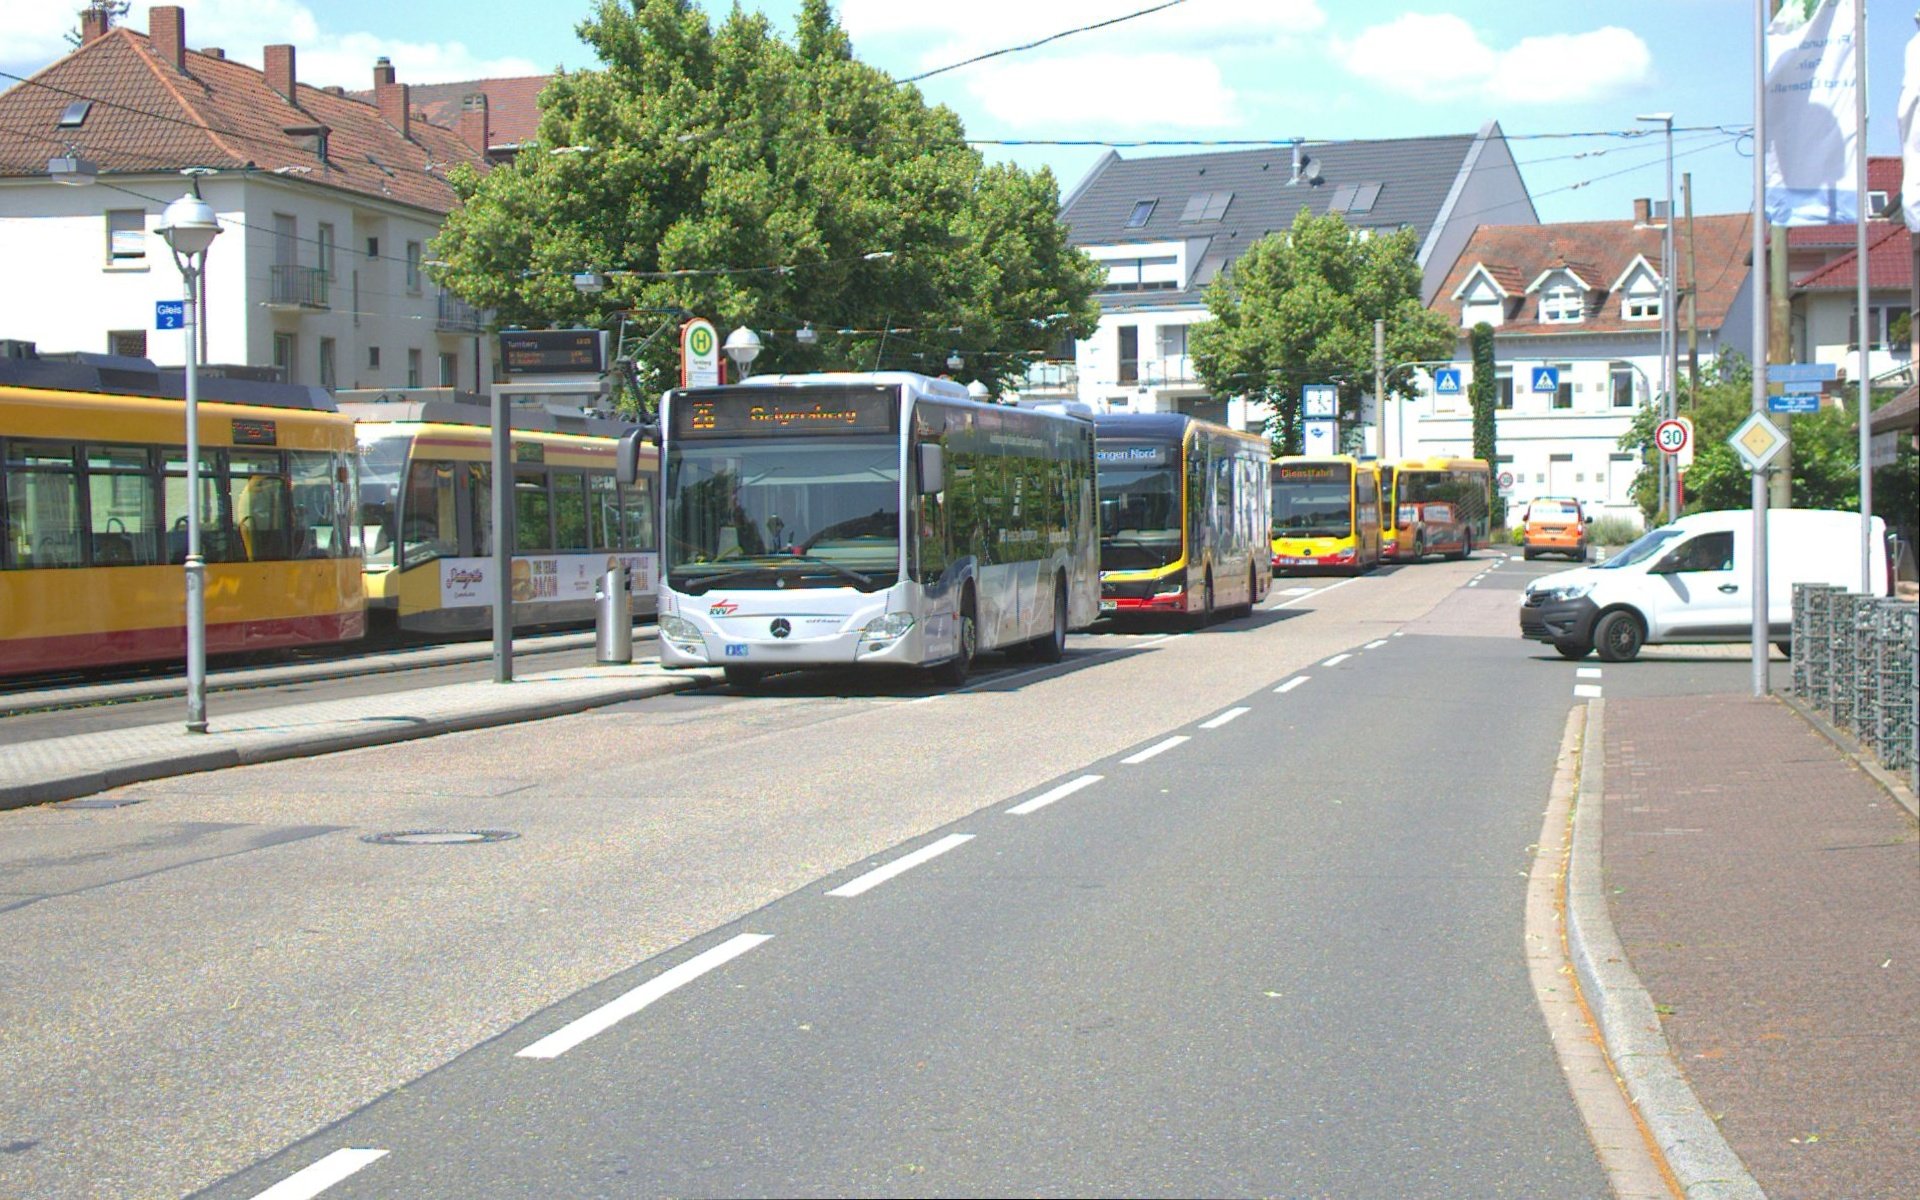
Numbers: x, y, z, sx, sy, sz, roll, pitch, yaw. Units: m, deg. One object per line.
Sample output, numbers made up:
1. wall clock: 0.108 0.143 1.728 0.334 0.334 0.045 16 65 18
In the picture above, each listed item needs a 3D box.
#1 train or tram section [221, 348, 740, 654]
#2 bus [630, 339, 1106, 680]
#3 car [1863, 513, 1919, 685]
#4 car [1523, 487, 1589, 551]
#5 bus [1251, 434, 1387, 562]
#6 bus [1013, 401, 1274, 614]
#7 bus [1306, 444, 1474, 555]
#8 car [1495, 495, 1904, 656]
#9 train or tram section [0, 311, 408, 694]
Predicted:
1. train or tram section: -6.616 -1.423 51.427 2.786 3.881 15.545 0 1 11
2. bus: -0.611 -0.956 37.521 2.731 3.118 12.003 0 1 11
3. car: 10.416 -0.047 31.190 3.929 1.513 1.823 -1 1 -1
4. car: 18.962 -2.573 109.208 1.809 1.974 3.998 0 1 14
5. bus: 9.674 -2.670 91.725 2.731 3.207 11.044 0 1 11
6. bus: 3.238 -1.489 56.507 2.731 3.118 12.003 0 1 11
7. bus: 13.140 -3.014 104.355 2.637 3.207 9.930 0 1 22
8. car: 8.748 -0.312 40.883 4.303 1.803 2.001 0 3 -8
9. train or tram section: -9.615 -0.981 35.678 2.786 3.556 14.699 0 1 11
